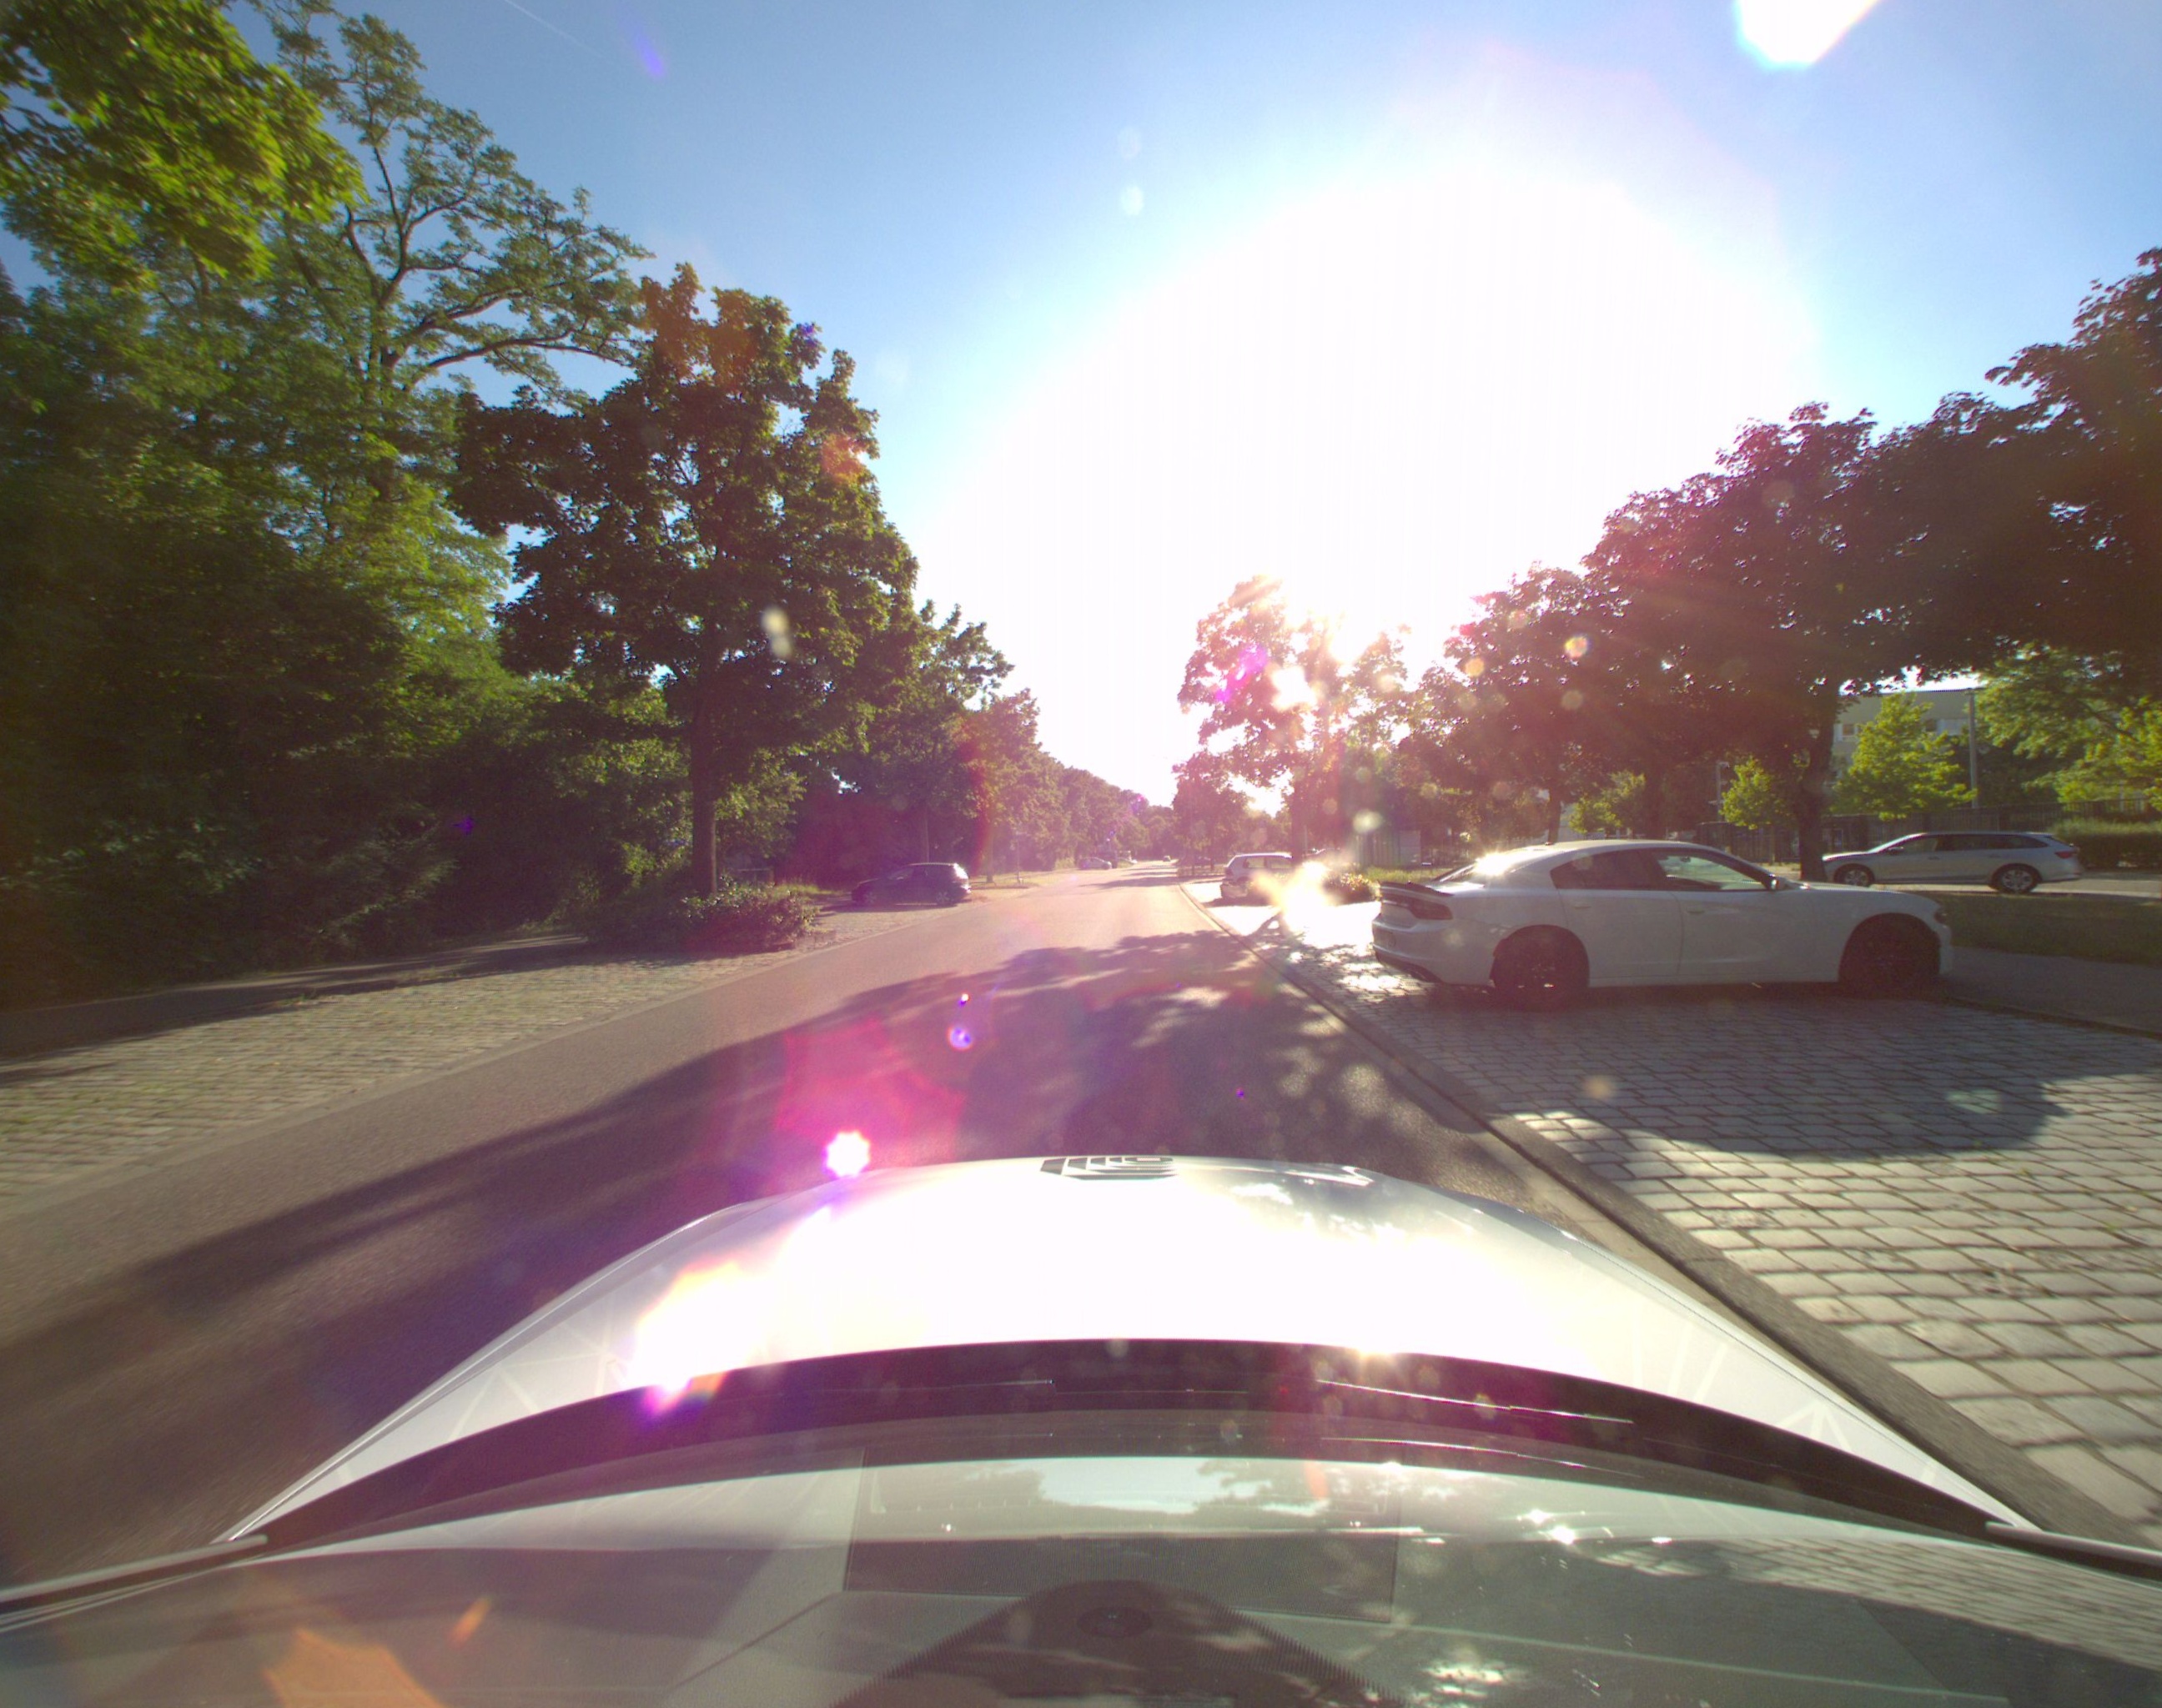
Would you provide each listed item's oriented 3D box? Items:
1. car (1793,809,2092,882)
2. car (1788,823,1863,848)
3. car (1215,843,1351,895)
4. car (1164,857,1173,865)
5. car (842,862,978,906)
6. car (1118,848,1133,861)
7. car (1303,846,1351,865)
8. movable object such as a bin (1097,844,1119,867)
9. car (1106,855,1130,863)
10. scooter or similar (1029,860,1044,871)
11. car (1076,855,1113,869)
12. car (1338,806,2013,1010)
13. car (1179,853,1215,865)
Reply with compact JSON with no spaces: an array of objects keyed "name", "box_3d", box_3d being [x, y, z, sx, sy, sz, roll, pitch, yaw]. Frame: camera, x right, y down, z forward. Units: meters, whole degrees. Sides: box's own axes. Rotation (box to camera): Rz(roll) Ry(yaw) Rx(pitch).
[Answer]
[{"name":"car","box_3d":[20.975,-0.147,20.221,4.891,1.574,2.012,-2,0,43]},{"name":"car","box_3d":[48.680,-1.171,53.341,1.609,1.530,3.833,-2,0,6]},{"name":"car","box_3d":[6.923,0.514,28.152,4.328,1.479,2.007,-4,-1,13]},{"name":"car","box_3d":[22.188,1.721,207.208,1.984,1.904,4.005,-2,-1,4]},{"name":"car","box_3d":[-5.994,1.048,28.922,4.340,1.479,2.002,0,0,3]},{"name":"car","box_3d":[8.952,0.108,164.252,2.509,2.386,4.372,-2,0,0]},{"name":"car","box_3d":[25.426,0.153,84.171,4.408,1.706,2.062,-2,0,5]},{"name":"movable object such as a bin","box_3d":[3.823,0.143,114.769,2.827,3.068,4.929,-2,0,2]},{"name":"car","box_3d":[7.036,0.959,154.867,4.345,1.479,2.000,-2,0,-1]},{"name":"scooter or similar","box_3d":[-4.797,1.236,87.939,1.594,1.145,0.570,-2,-1,-44]},{"name":"car","box_3d":[1.696,1.031,102.106,4.335,1.547,2.004,-2,0,7]},{"name":"car","box_3d":[5.497,0.466,8.144,5.158,1.574,2.158,-2,0,0]},{"name":"car","box_3d":[15.676,0.712,110.217,4.816,1.479,2.004,-2,0,7]}]
